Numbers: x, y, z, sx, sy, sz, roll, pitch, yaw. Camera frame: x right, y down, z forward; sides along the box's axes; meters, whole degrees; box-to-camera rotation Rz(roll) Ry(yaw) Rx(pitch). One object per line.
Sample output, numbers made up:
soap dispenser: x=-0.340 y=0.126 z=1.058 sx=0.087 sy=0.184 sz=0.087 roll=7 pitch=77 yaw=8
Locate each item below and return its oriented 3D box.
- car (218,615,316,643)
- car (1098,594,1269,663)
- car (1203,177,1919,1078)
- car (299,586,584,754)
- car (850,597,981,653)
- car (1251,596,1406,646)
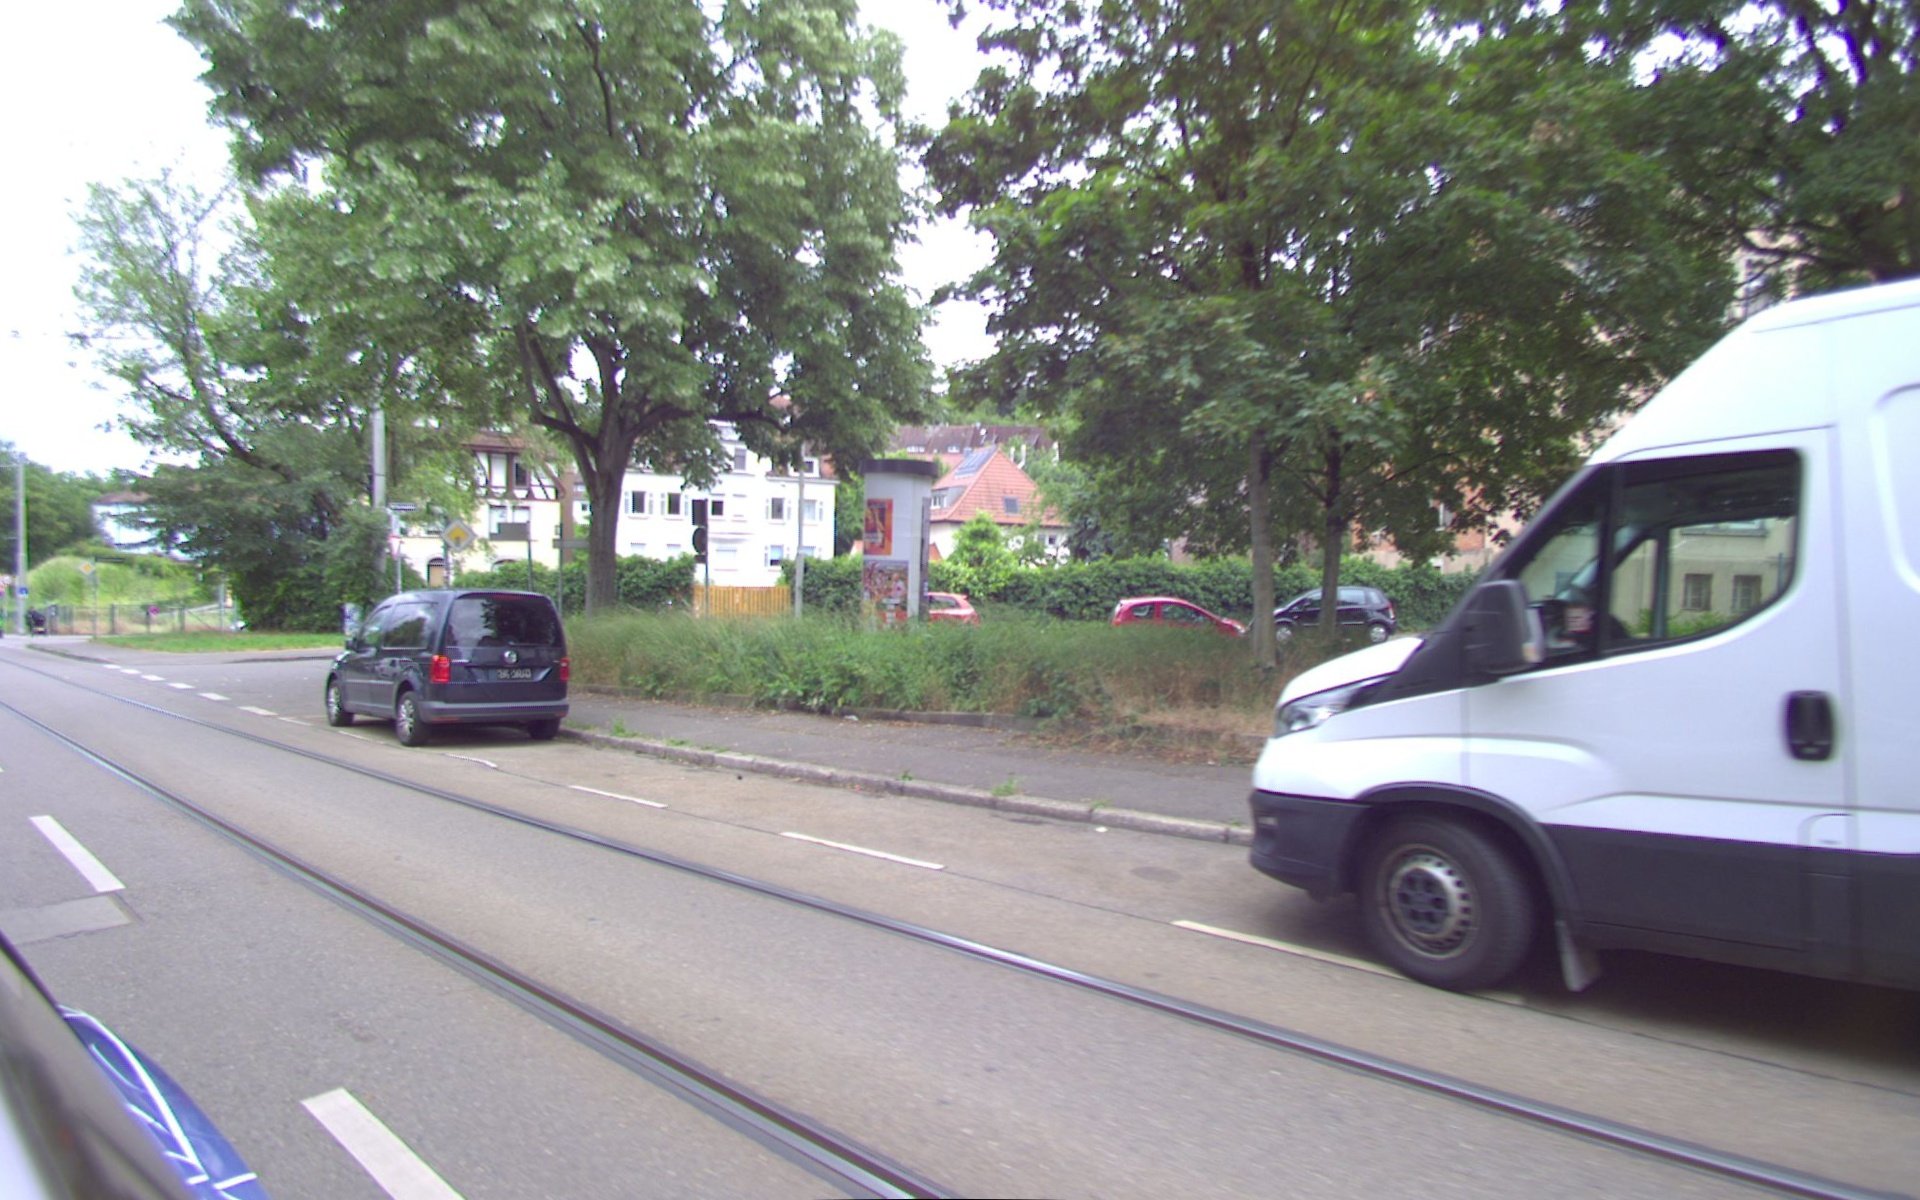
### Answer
car: x=-35.874 y=1.480 z=52.485 sx=3.944 sy=1.388 sz=1.701 roll=0 pitch=-1 yaw=-24
car: x=5.065 y=0.644 z=23.370 sx=3.688 sy=1.426 sz=1.648 roll=-2 pitch=1 yaw=9
car: x=4.112 y=0.091 z=3.241 sx=6.214 sy=2.627 sz=2.136 roll=-1 pitch=-3 yaw=40
car: x=-6.823 y=0.818 z=13.064 sx=4.668 sy=1.789 sz=1.742 roll=-1 pitch=-3 yaw=43
car: x=-1.234 y=0.700 z=29.113 sx=3.568 sy=1.489 sz=1.747 roll=-1 pitch=1 yaw=5
car: x=10.150 y=0.574 z=28.053 sx=3.733 sy=1.245 sz=1.455 roll=-1 pitch=1 yaw=5
